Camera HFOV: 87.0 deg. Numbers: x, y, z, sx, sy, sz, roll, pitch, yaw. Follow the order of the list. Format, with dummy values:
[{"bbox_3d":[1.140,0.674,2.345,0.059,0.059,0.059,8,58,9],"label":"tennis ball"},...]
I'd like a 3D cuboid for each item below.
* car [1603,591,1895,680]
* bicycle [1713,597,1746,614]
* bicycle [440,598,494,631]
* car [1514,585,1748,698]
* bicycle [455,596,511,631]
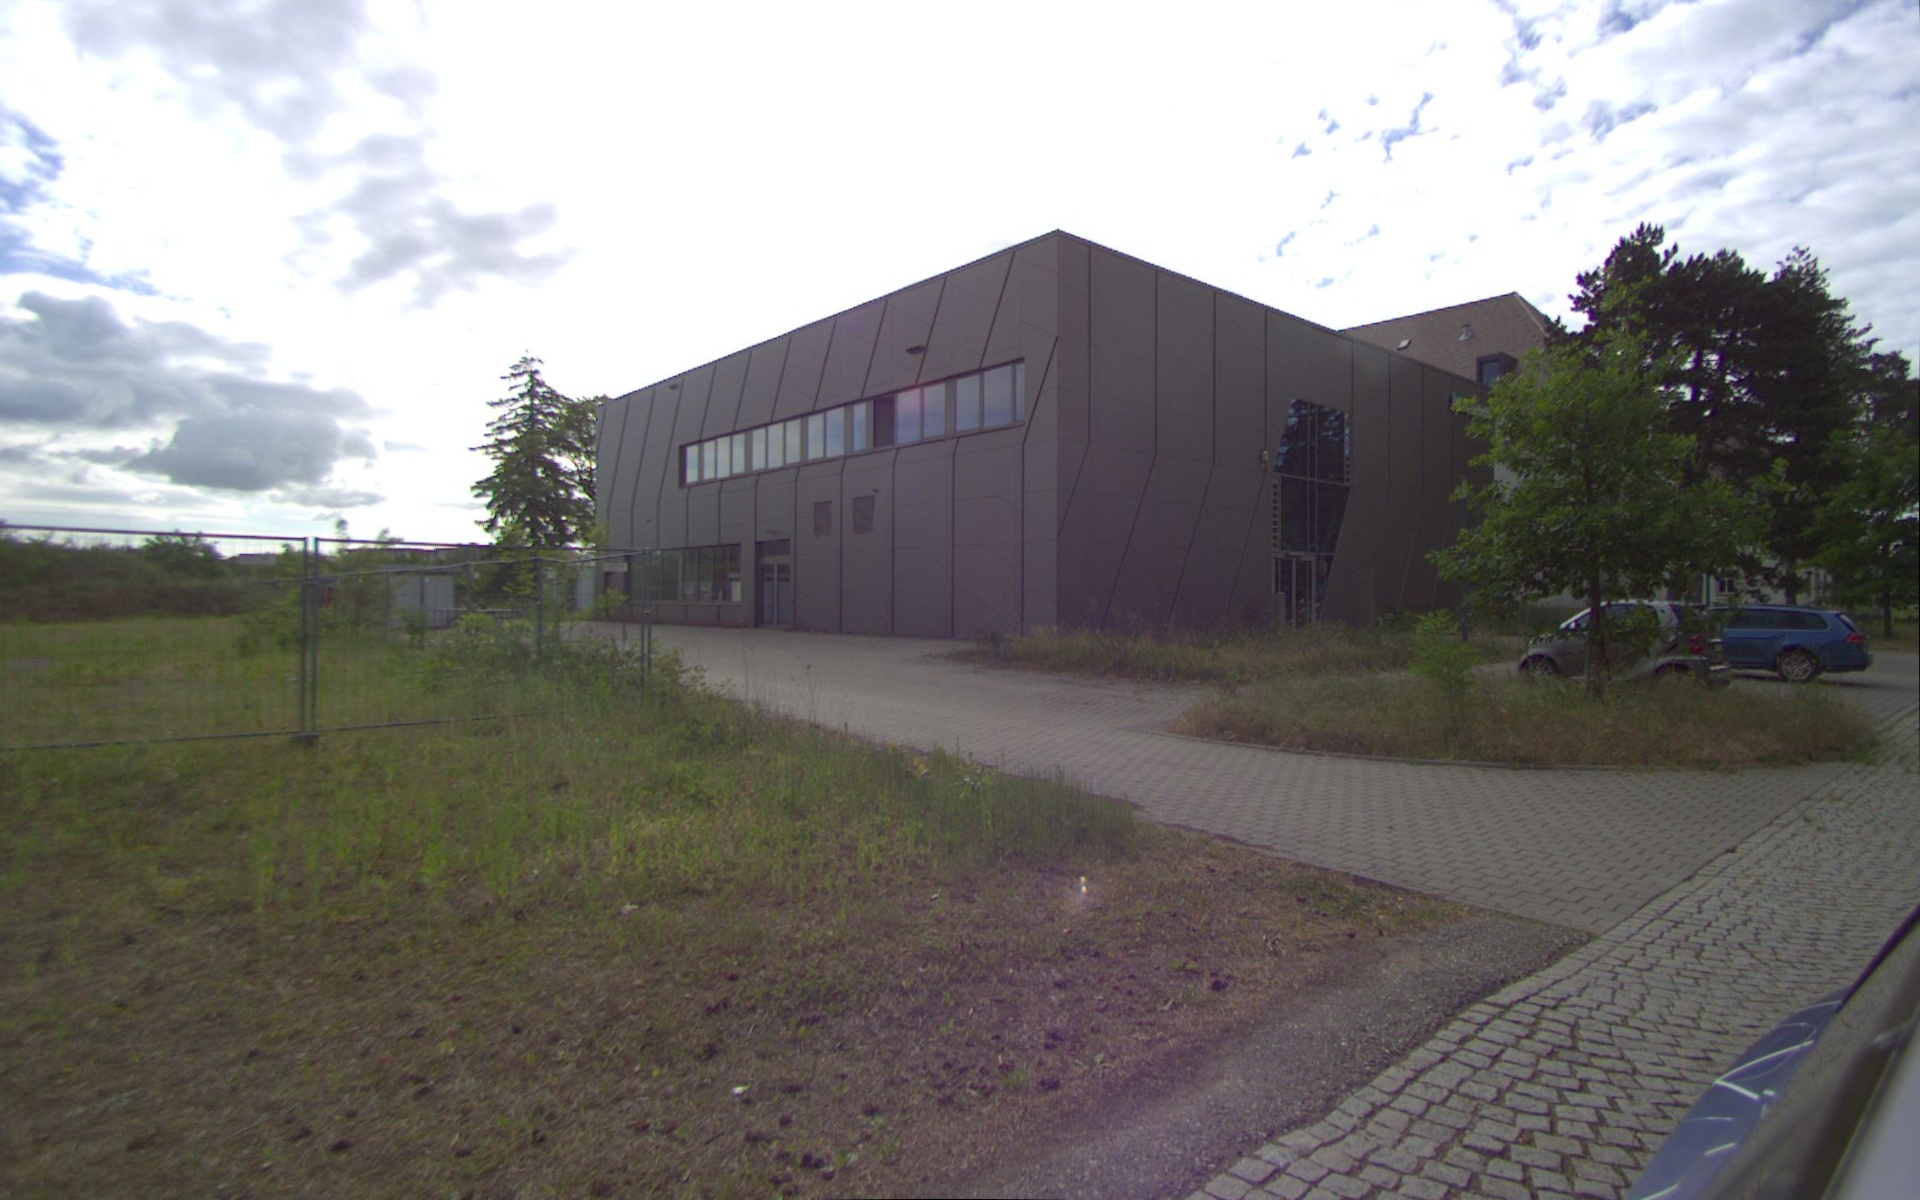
[{"bbox_3d":[16.025,0.636,20.742,1.800,1.493,4.496,0,2,-43],"label":"car"},{"bbox_3d":[51.227,0.337,67.382,0.603,1.099,1.655,0,0,-39],"label":"bicycle"},{"bbox_3d":[-16.863,0.500,34.613,1.624,1.099,0.512,0,0,-32],"label":"bicycle"},{"bbox_3d":[10.554,0.577,16.015,1.624,1.575,2.717,0,1,-39],"label":"car"},{"bbox_3d":[-15.465,0.433,32.822,1.624,1.099,0.512,0,0,-32],"label":"bicycle"}]
